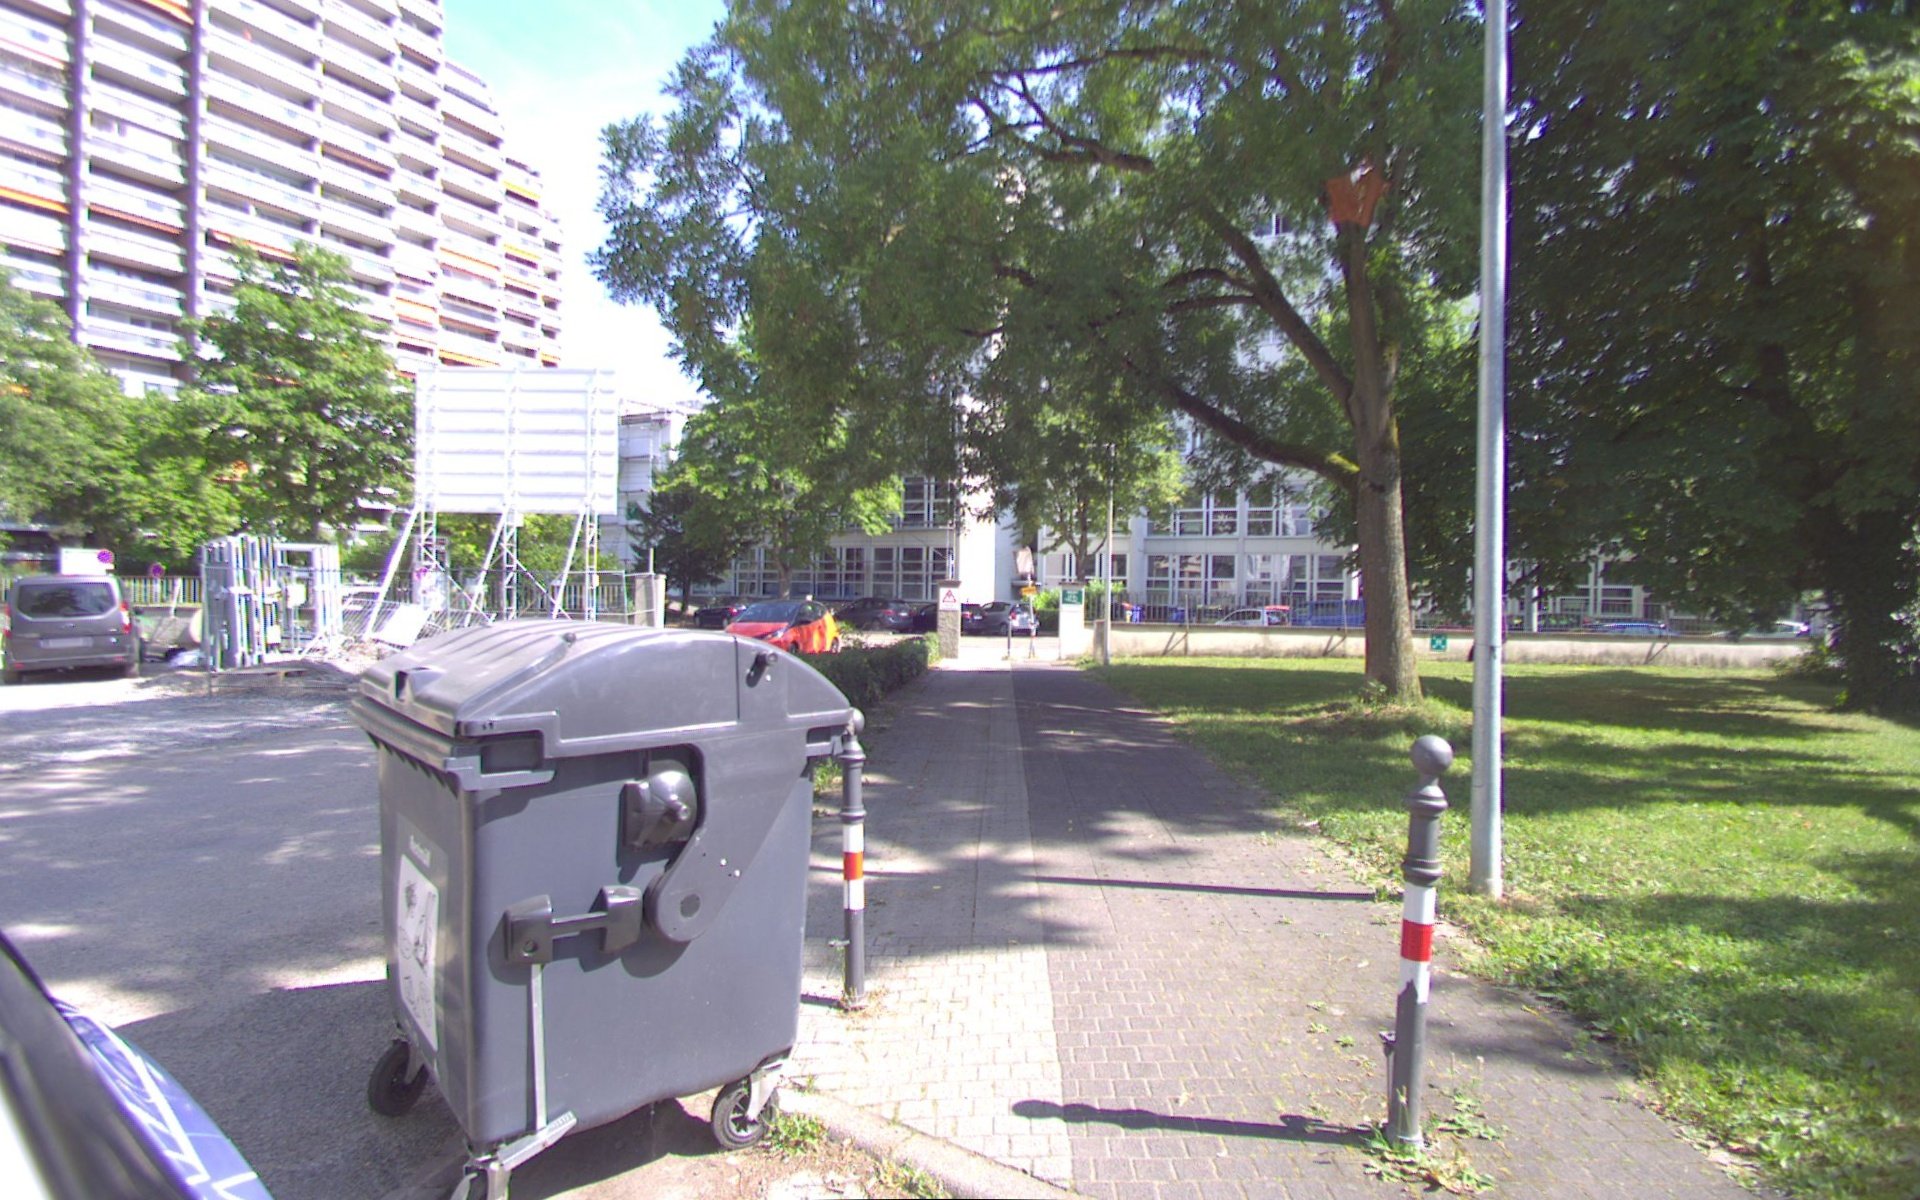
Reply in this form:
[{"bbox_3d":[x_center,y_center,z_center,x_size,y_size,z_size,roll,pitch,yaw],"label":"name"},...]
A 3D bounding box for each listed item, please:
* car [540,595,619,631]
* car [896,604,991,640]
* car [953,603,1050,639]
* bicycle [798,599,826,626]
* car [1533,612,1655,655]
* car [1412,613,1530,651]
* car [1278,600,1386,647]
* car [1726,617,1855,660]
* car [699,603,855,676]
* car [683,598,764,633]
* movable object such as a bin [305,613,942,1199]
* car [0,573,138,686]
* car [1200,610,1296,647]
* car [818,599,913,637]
[{"bbox_3d":[-16.992,0.551,45.129,1.815,1.420,4.151,-1,2,-44],"label":"car"},{"bbox_3d":[-0.764,0.941,44.859,4.186,1.487,1.776,1,-1,43],"label":"car"},{"bbox_3d":[1.821,0.921,45.354,1.775,1.497,4.344,1,-1,-44],"label":"car"},{"bbox_3d":[-7.651,0.643,52.407,0.486,1.389,2.003,1,0,20],"label":"bicycle"},{"bbox_3d":[26.408,1.369,42.237,1.777,1.652,4.003,2,-2,-44],"label":"car"},{"bbox_3d":[22.033,1.351,43.766,1.756,1.550,4.223,2,-2,-44],"label":"car"},{"bbox_3d":[15.985,1.002,43.577,1.760,1.921,4.003,2,-2,-44],"label":"car"},{"bbox_3d":[35.476,1.617,43.298,1.801,1.674,4.007,1,-1,-40],"label":"car"},{"bbox_3d":[-3.859,0.827,22.118,1.648,1.423,4.152,0,-1,17],"label":"car"},{"bbox_3d":[-10.533,0.645,44.958,4.001,1.463,1.630,0,0,44],"label":"car"},{"bbox_3d":[-0.984,0.760,2.872,1.229,1.407,1.406,1,0,-43],"label":"movable object such as a bin"},{"bbox_3d":[-16.001,0.433,18.152,1.891,1.794,4.321,-1,1,-38],"label":"car"},{"bbox_3d":[12.506,1.222,44.125,1.681,1.474,3.861,1,-1,-33],"label":"car"},{"bbox_3d":[-4.252,0.769,44.957,4.393,1.577,1.782,0,0,45],"label":"car"}]
